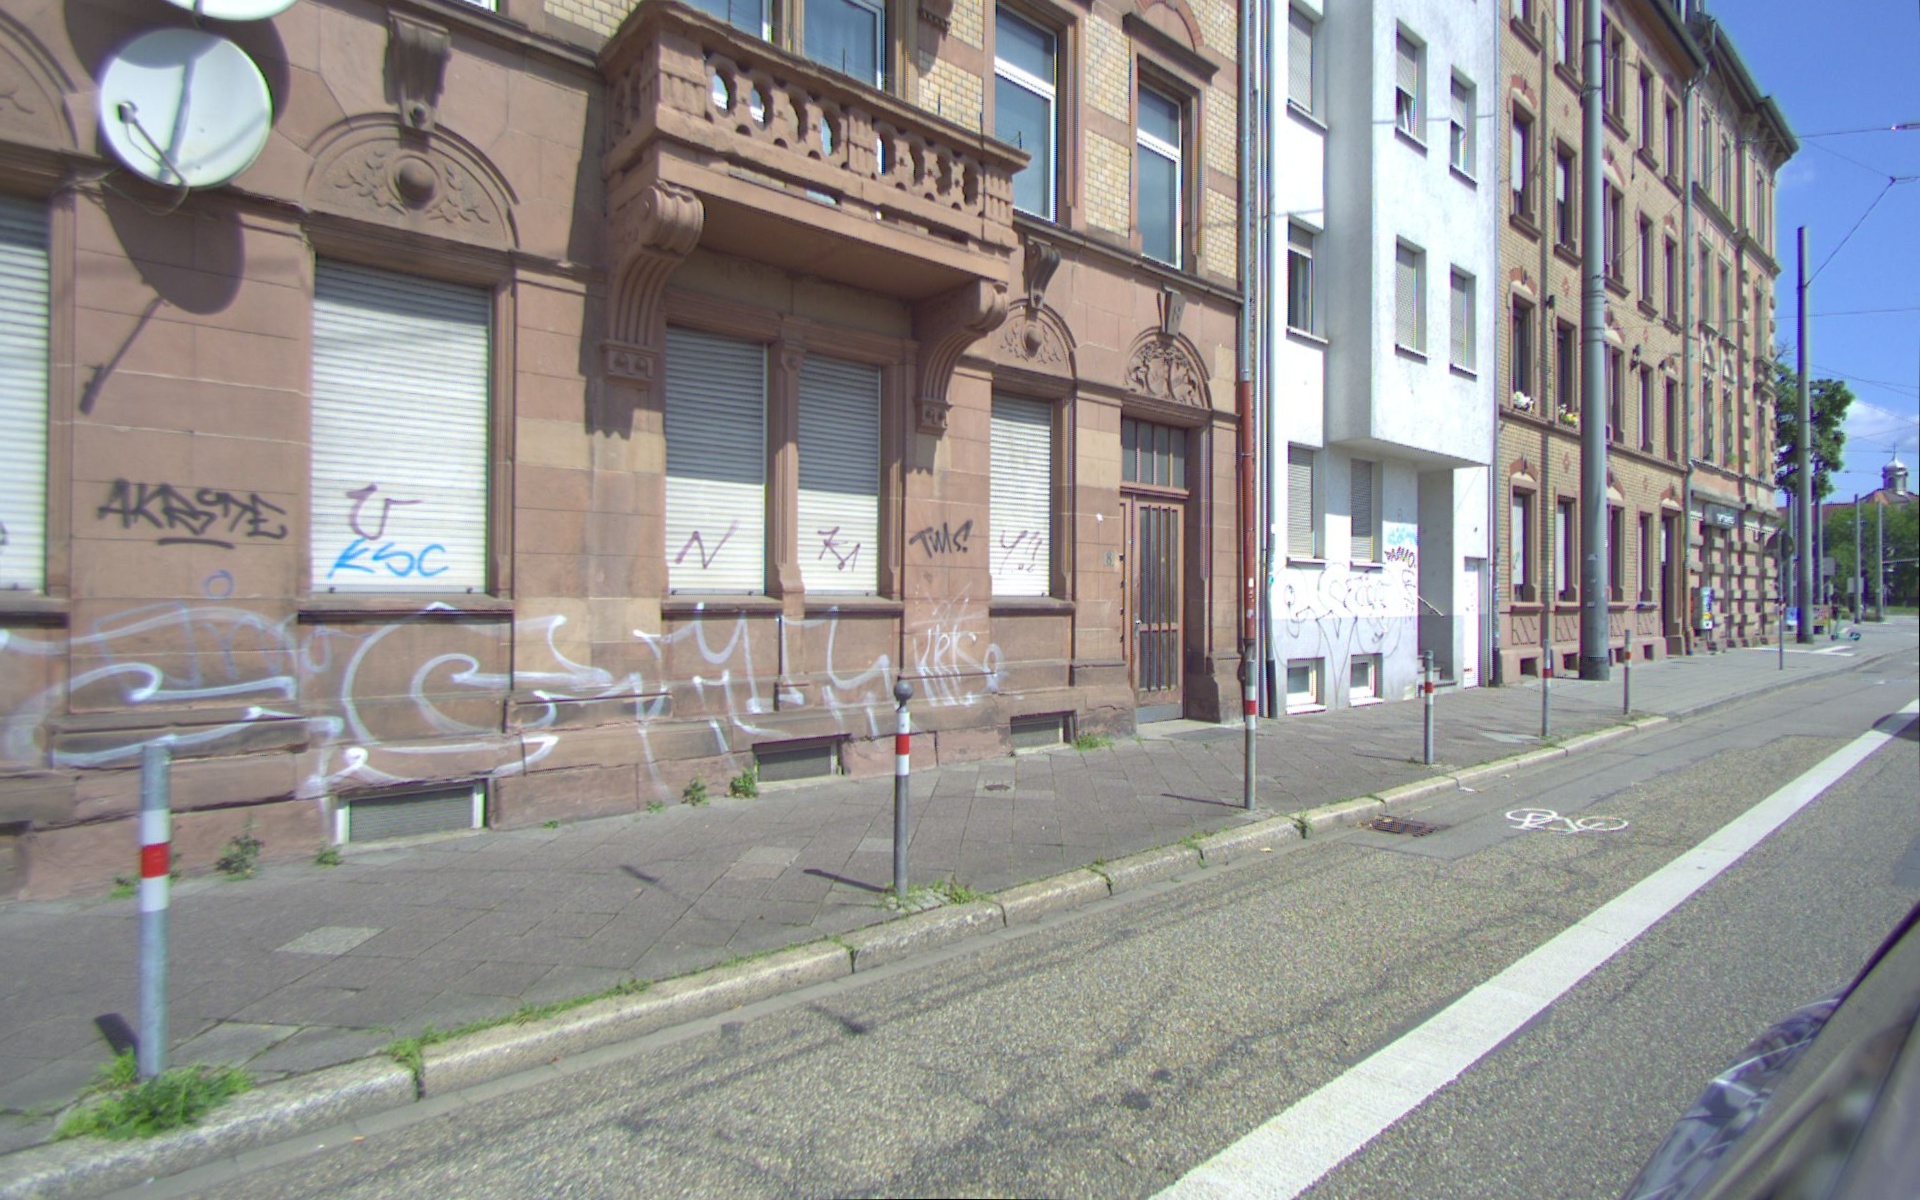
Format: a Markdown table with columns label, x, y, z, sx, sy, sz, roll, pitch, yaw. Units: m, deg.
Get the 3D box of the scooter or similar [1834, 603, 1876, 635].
| label | x | y | z | sx | sy | sz | roll | pitch | yaw |
| --- | --- | --- | --- | --- | --- | --- | --- | --- | --- |
| scooter or similar | 33.995 | 0.712 | 38.442 | 1.065 | 1.194 | 0.951 | 0 | 1 | -35 |
